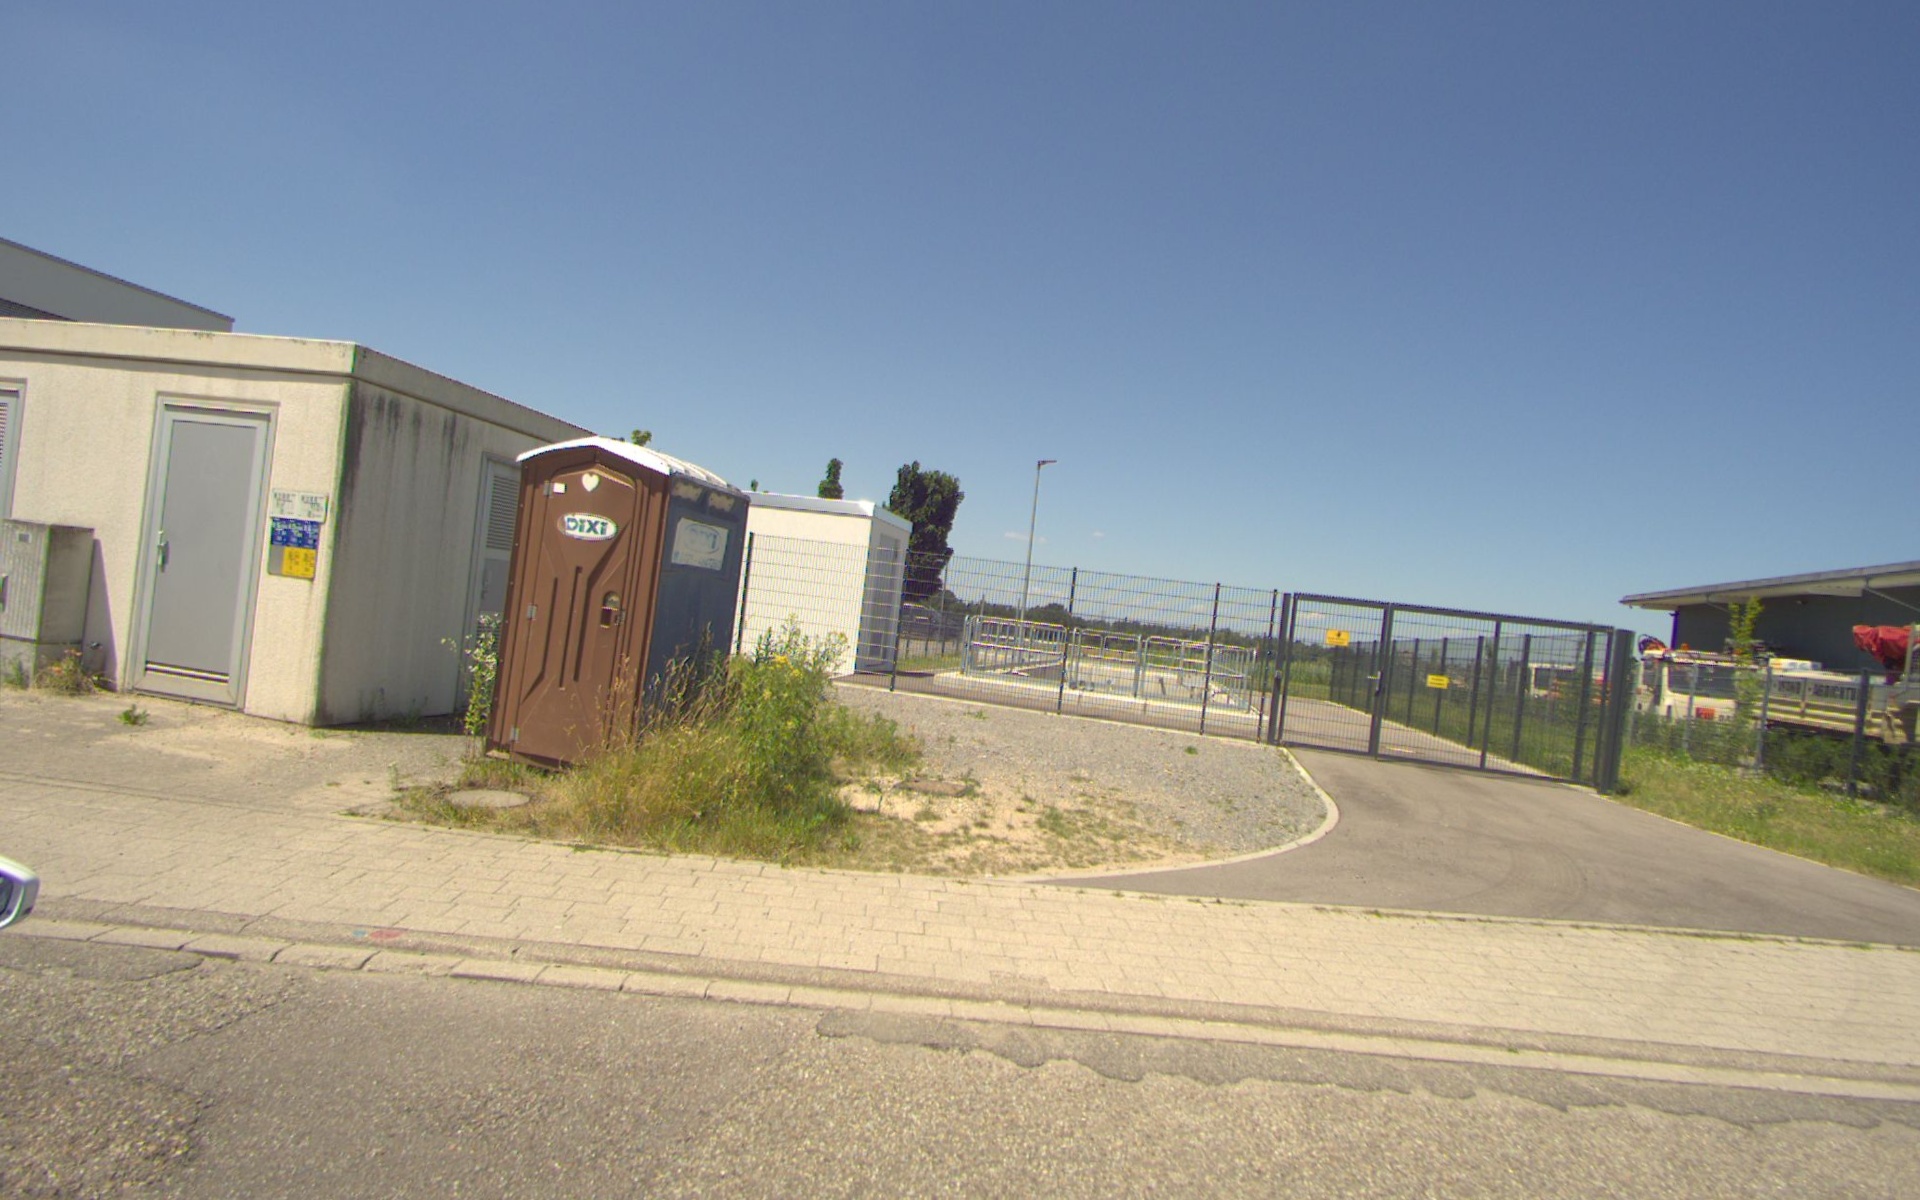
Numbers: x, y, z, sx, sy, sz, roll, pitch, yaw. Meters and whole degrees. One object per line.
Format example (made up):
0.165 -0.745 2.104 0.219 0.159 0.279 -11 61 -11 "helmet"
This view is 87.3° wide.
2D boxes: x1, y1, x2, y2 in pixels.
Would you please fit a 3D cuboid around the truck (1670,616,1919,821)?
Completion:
16.387 2.085 18.151 2.575 3.057 8.369 6 -2 13 "truck"

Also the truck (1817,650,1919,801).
21.548 2.751 20.080 2.638 3.214 8.982 6 -2 13 "truck"

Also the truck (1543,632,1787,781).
17.880 2.583 26.148 2.448 3.058 7.039 6 -1 13 "truck"

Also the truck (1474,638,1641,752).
19.491 3.001 33.340 2.448 3.058 7.039 6 -1 13 "truck"

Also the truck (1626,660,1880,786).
24.191 3.563 31.395 2.638 3.057 8.369 6 -2 13 "truck"

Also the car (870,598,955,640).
-2.515 1.026 53.822 4.107 1.822 1.862 5 -1 12 "car"
